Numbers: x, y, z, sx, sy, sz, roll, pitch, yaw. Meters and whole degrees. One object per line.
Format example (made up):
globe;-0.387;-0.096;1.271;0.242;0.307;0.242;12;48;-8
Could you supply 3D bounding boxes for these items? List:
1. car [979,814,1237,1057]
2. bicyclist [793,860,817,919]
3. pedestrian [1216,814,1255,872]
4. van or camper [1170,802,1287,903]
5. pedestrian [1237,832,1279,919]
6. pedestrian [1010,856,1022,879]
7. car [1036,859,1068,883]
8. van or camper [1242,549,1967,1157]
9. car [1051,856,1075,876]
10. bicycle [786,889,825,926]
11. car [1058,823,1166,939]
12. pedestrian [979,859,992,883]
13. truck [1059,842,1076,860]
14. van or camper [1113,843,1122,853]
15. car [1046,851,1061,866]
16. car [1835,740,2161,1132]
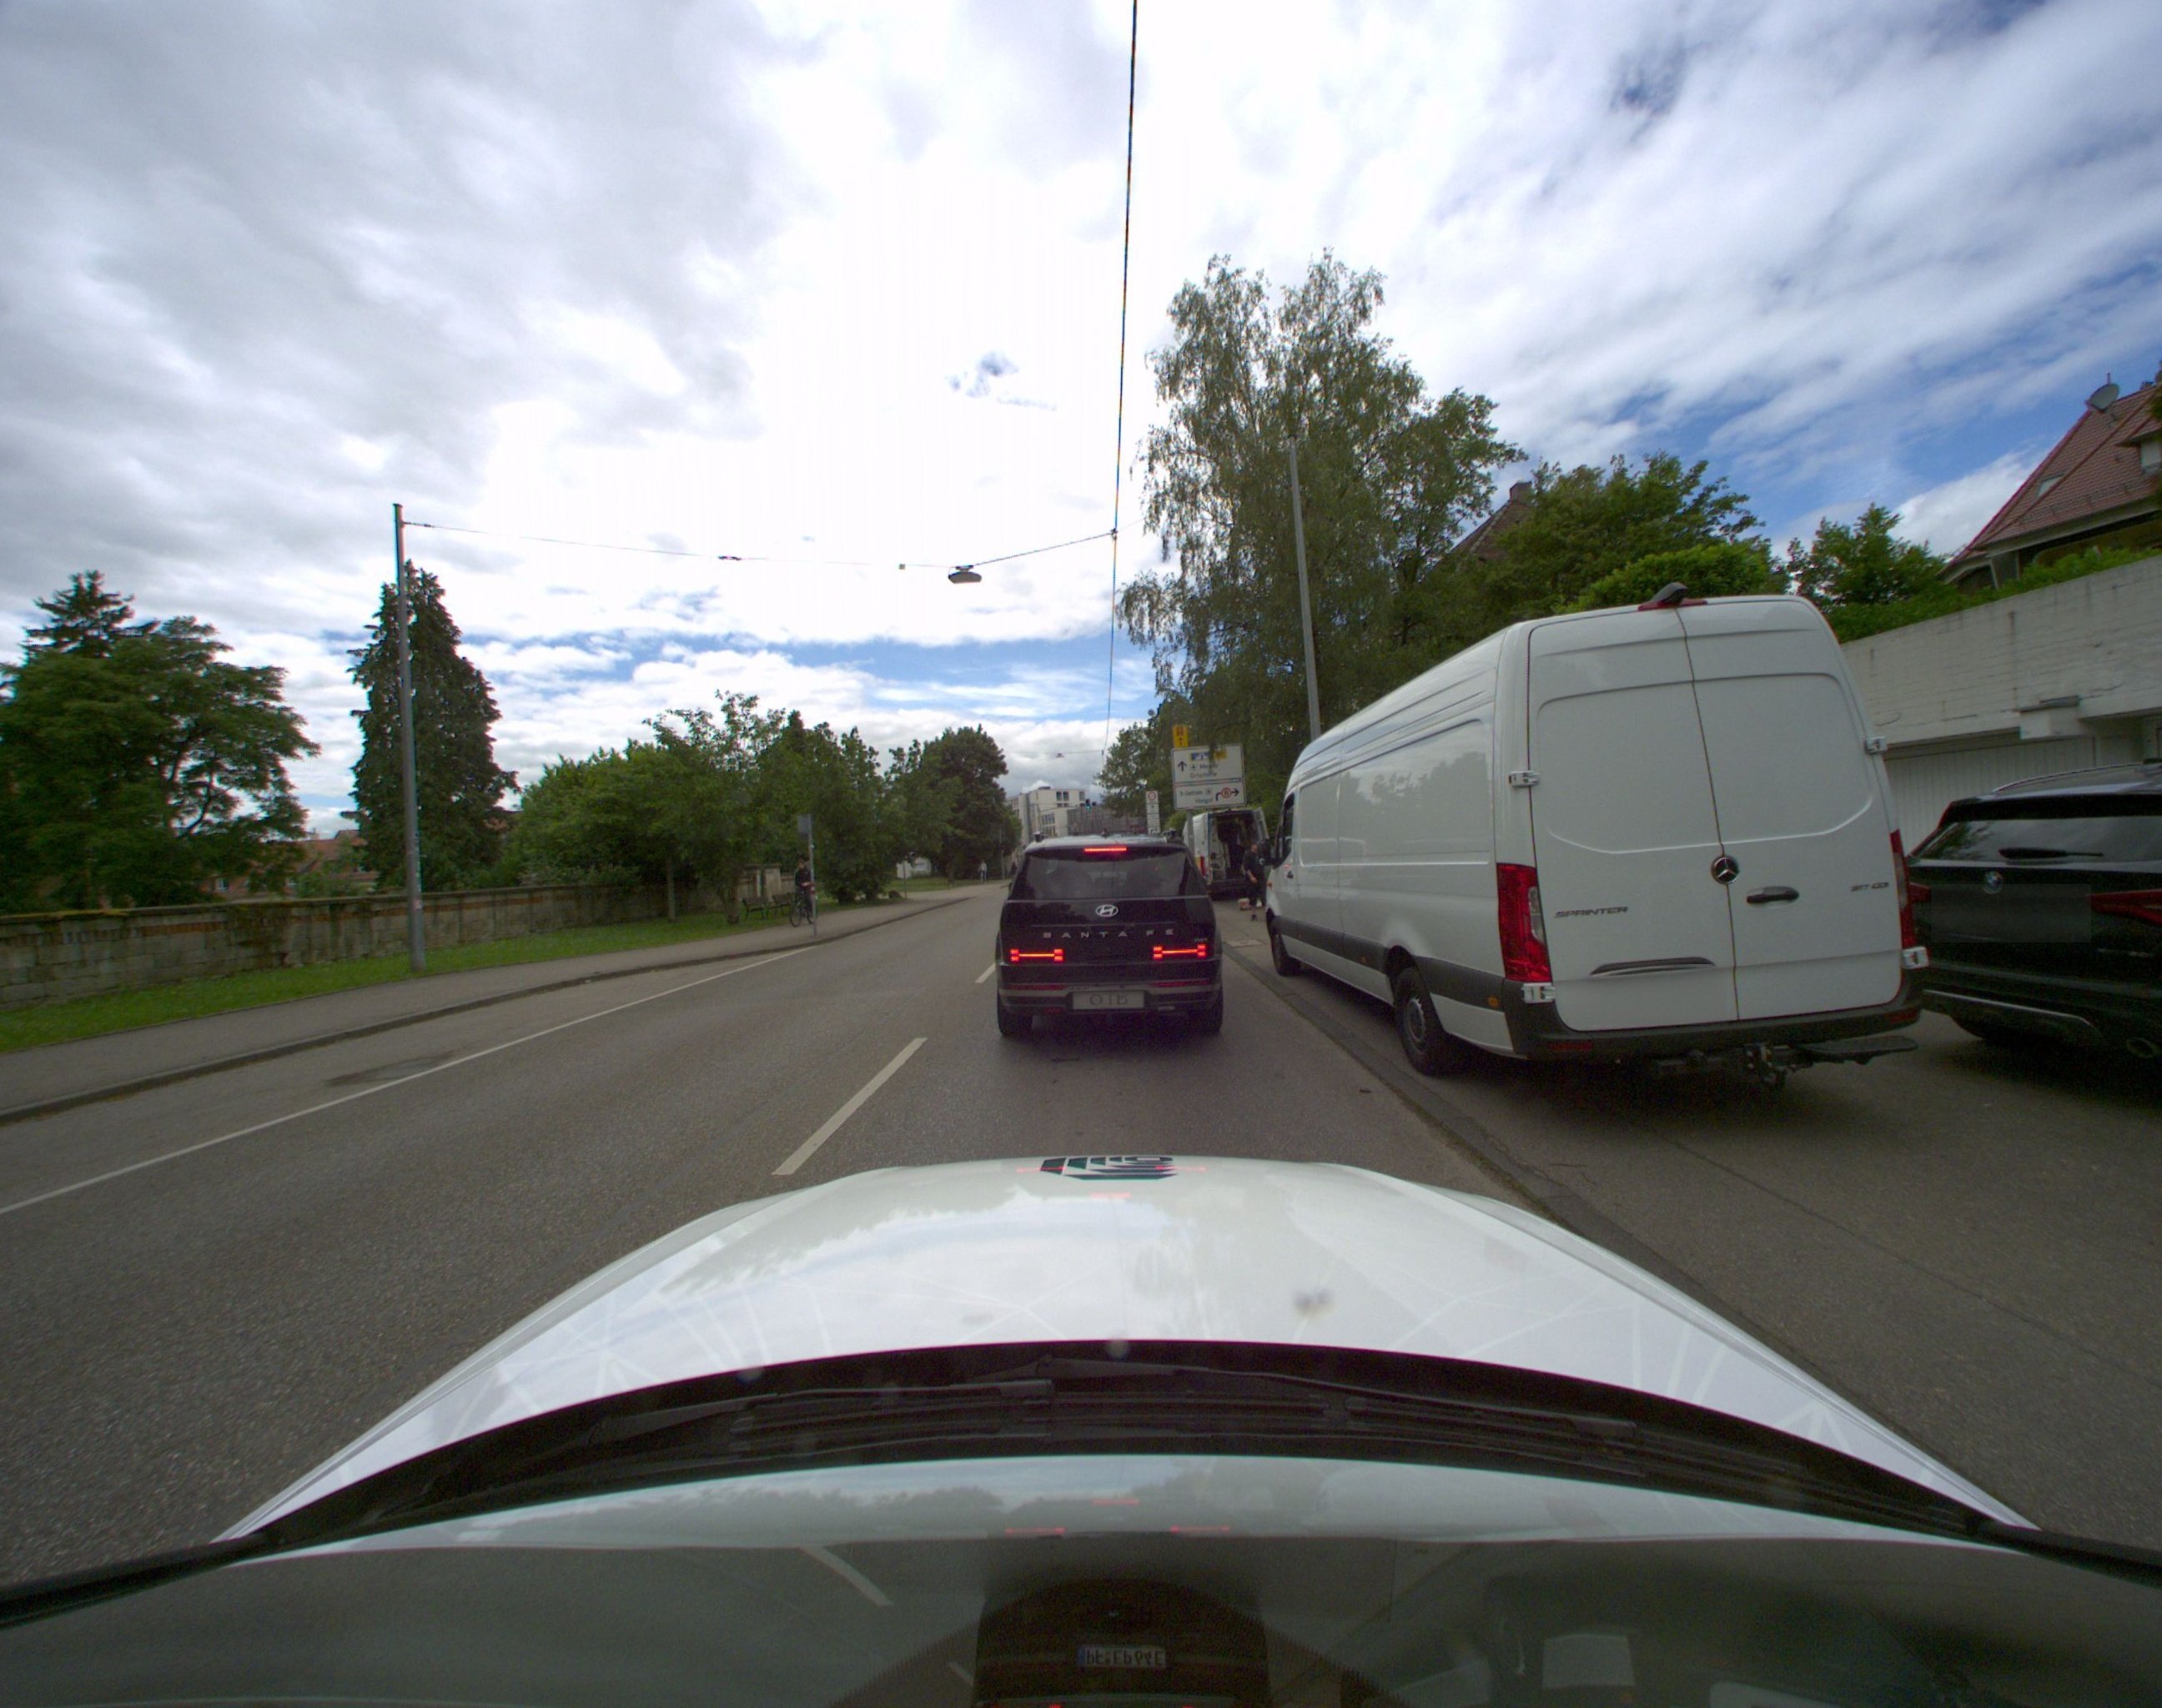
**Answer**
car;0.259;0.618;7.983;1.890;1.776;3.995;0;-1;2
bicyclist;-7.997;1.008;23.600;0.486;1.684;0.588;0;-1;1
pedestrian;4.549;-0.311;23.959;0.799;1.643;0.736;-4;-1;-10
van or camper;4.339;0.016;25.304;2.332;2.494;6.603;-6;-1;1
pedestrian;3.579;0.440;16.550;0.784;1.721;0.754;0;-1;9
pedestrian;-5.704;1.190;71.525;0.826;2.014;1.048;0;-1;4
car;-1.878;1.103;54.532;1.750;1.403;4.416;-5;-1;2
van or camper;3.059;0.017;7.047;1.984;2.625;6.546;-6;-1;2
car;-1.462;0.966;68.776;1.695;1.483;4.001;-5;-1;2
bicycle;-7.993;1.534;23.671;0.493;0.964;1.749;0;-1;2
car;0.612;0.495;16.447;1.890;2.042;3.995;0;-1;2
pedestrian;-7.108;1.292;60.497;0.764;1.748;0.905;-2;-1;2
truck;-3.113;-0.709;187.422;3.102;3.859;9.606;-3;0;-4
van or camper;7.718;-1.203;172.576;1.791;1.999;3.821;0;-1;-2
car;-4.922;0.803;144.561;2.328;2.315;4.950;-3;0;-4
car;6.786;0.213;4.042;4.365;1.675;1.696;-4;-1;2
